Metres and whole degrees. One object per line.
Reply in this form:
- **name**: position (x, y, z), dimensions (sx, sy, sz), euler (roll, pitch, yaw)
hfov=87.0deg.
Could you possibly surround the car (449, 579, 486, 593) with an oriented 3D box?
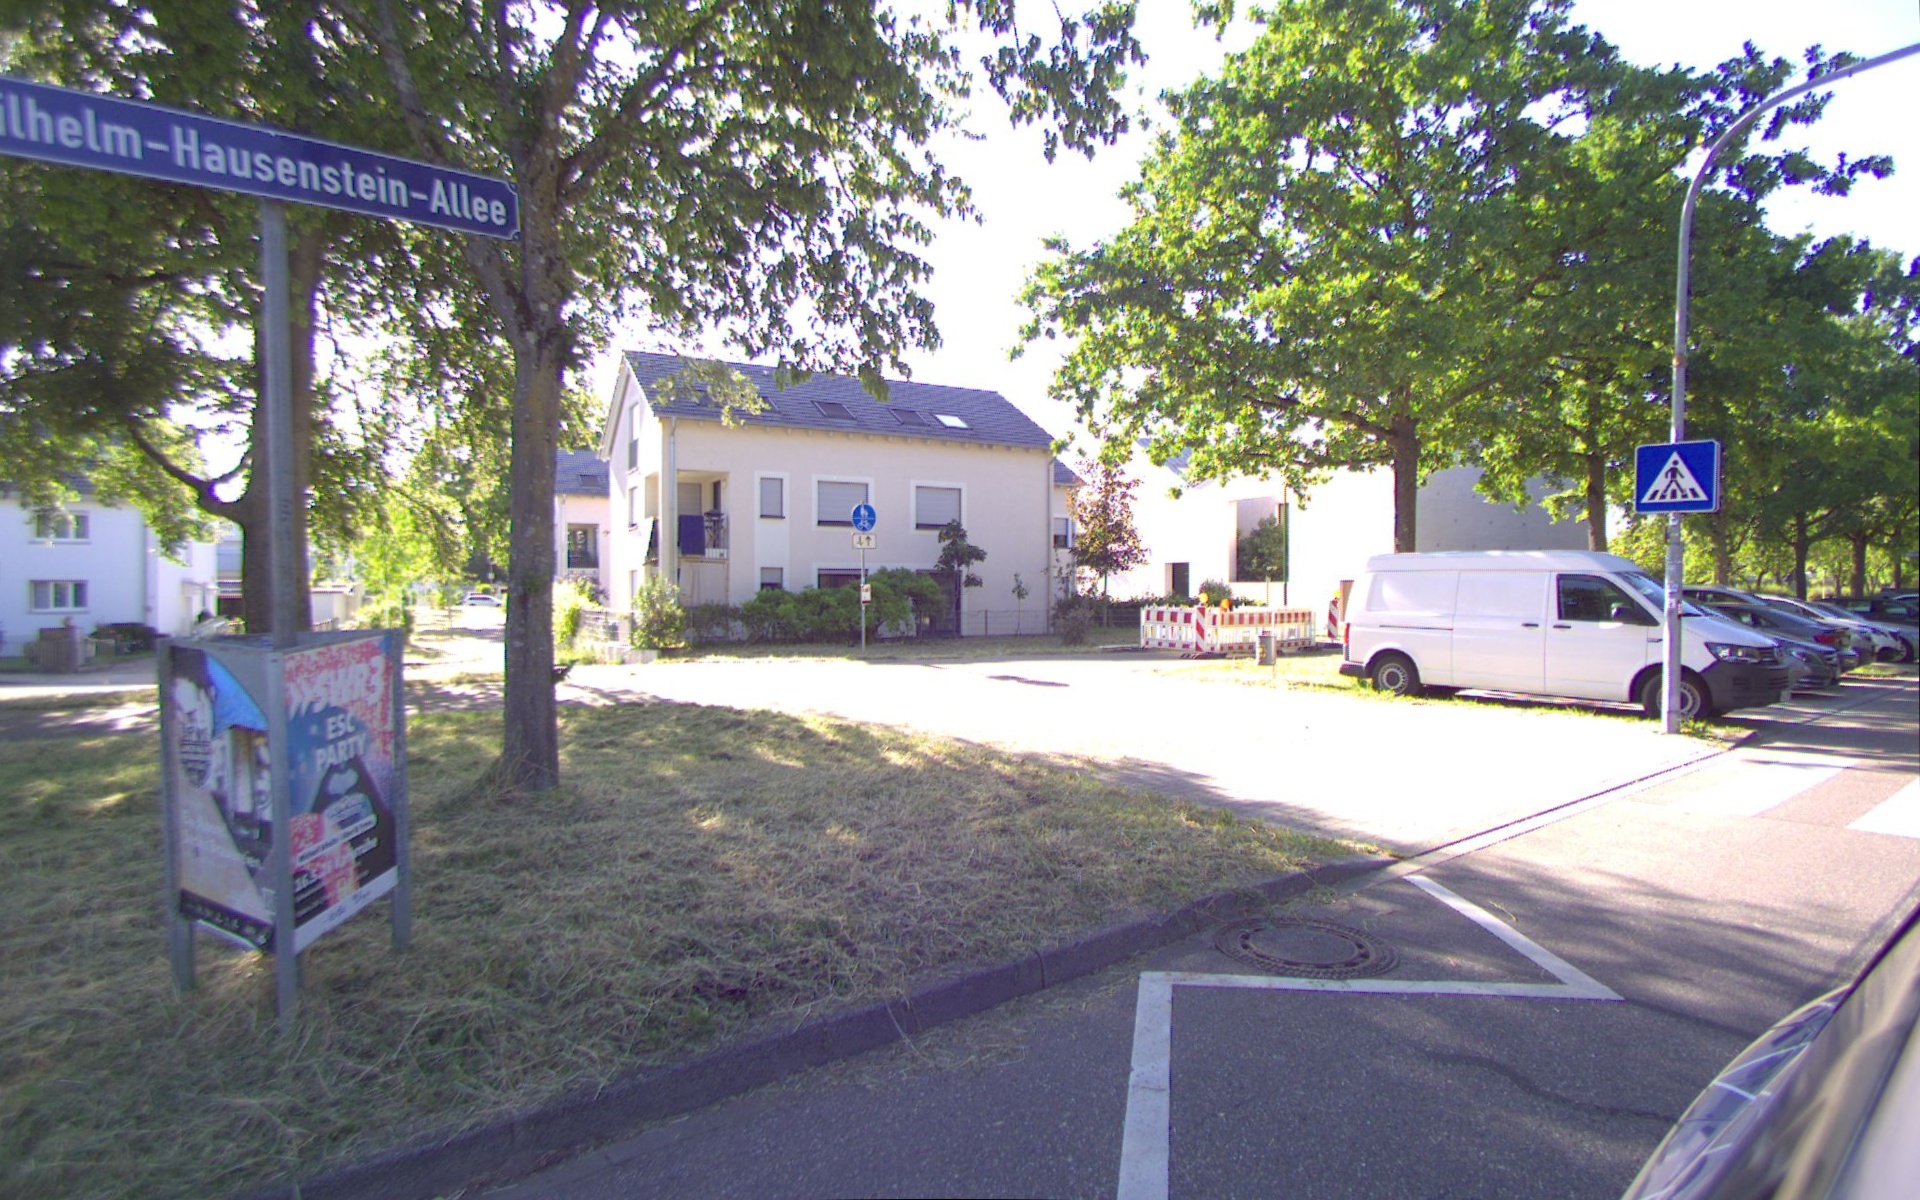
- **car**: position (-68.366, -1.937, 140.540), dimensions (4.524, 2.039, 2.003), euler (0, 0, -24)

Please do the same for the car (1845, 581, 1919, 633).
- **car**: position (32.945, 0.231, 34.165), dimensions (1.504, 1.765, 4.396), euler (0, 0, -37)

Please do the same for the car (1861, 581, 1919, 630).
- **car**: position (35.998, 0.194, 36.947), dimensions (1.504, 1.765, 4.396), euler (0, 0, -37)

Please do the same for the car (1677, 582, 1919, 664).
- **car**: position (18.994, 0.490, 23.091), dimensions (1.504, 1.700, 4.020), euler (0, 0, -37)

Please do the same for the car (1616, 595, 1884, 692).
- **car**: position (13.999, 0.708, 18.100), dimensions (1.421, 1.561, 3.517), euler (0, 0, -37)

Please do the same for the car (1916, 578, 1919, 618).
- **car**: position (43.477, -0.107, 42.668), dimensions (1.504, 1.765, 4.396), euler (0, 0, -37)

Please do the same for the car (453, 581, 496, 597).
- **car**: position (-62.483, -1.374, 130.261), dimensions (4.543, 2.039, 1.995), euler (0, 0, -43)

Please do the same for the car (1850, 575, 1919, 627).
- **car**: position (37.909, 0.031, 39.630), dimensions (1.504, 2.013, 4.396), euler (0, 0, -37)

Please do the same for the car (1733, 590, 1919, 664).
- **car**: position (21.517, 0.610, 24.644), dimensions (1.504, 1.681, 4.020), euler (0, 0, -37)

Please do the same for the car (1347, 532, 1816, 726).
- **car**: position (8.013, 0.266, 13.567), dimensions (1.857, 2.107, 5.045), euler (0, 1, -39)

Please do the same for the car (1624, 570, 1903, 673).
- **car**: position (15.704, 0.380, 19.982), dimensions (1.681, 1.816, 4.020), euler (0, 0, -37)

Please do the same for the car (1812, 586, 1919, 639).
- **car**: position (30.425, 0.393, 32.551), dimensions (1.504, 1.662, 4.396), euler (0, 0, -37)

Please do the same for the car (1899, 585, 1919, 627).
- **car**: position (41.438, 0.234, 41.262), dimensions (1.504, 1.765, 4.396), euler (0, 0, -37)

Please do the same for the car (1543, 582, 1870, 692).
- **car**: position (12.081, 0.533, 16.615), dimensions (1.725, 1.583, 3.997), euler (0, 0, -37)
